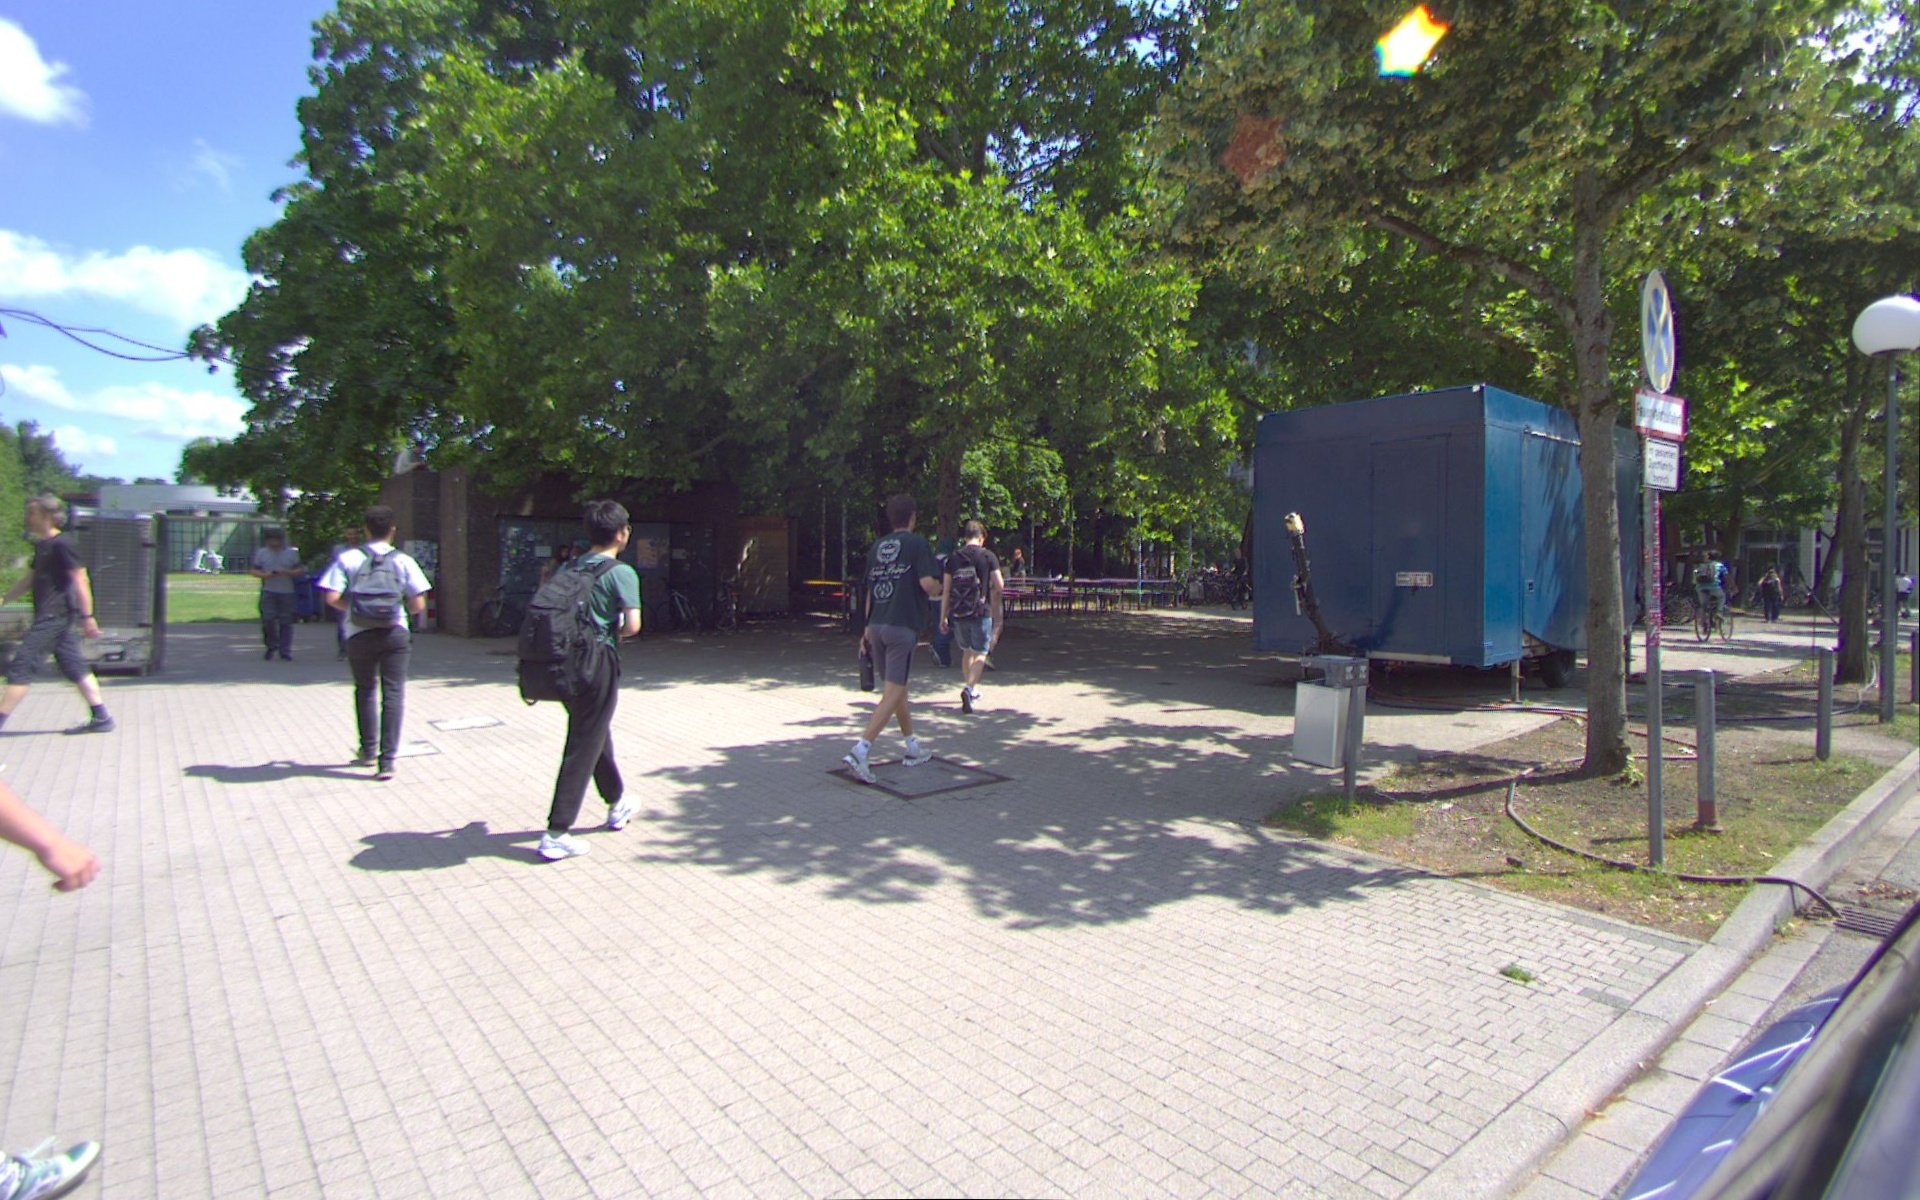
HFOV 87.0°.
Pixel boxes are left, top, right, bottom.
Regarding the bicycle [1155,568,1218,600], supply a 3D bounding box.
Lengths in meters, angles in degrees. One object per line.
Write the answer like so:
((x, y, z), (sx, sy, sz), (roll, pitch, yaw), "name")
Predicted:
((7.289, -0.523, 32.572), (1.945, 0.991, 0.434), (2, 2, 32), "bicycle")

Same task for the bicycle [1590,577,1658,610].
((21.620, -0.212, 32.963), (1.773, 1.041, 0.438), (1, 1, 19), "bicycle")

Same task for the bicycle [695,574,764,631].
((-4.710, 0.045, 20.560), (0.767, 1.085, 2.407), (-1, 1, -27), "bicycle")

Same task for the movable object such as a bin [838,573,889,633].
((-1.817, 0.043, 19.047), (0.729, 1.084, 0.600), (-3, 3, -39), "movable object such as a bin")

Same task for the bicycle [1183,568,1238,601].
((8.537, -0.547, 34.516), (1.769, 1.052, 0.474), (2, 2, 30), "bicycle")

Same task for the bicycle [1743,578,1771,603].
((36.742, -0.433, 46.639), (1.664, 1.099, 0.482), (2, 1, -35), "bicycle")

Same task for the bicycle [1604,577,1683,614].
((20.517, -0.147, 30.408), (1.896, 1.072, 0.322), (2, 1, 28), "bicycle")

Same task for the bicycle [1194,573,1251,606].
((8.686, -0.359, 33.516), (1.769, 1.052, 0.430), (2, 2, 30), "bicycle")

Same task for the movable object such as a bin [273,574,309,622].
((-18.769, -0.054, 28.401), (0.754, 1.337, 0.783), (1, 0, -40), "movable object such as a bin")

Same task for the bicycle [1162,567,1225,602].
((7.573, -0.513, 32.905), (1.945, 1.052, 0.430), (2, 2, 32), "bicycle")

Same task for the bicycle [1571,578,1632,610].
((22.903, -0.231, 36.162), (1.772, 1.083, 0.423), (1, 1, 23), "bicycle")

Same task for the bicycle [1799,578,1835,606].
((38.041, -0.345, 44.902), (1.494, 1.155, 0.493), (2, 1, -20), "bicycle")

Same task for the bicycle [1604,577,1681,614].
((20.665, -0.154, 30.677), (1.896, 1.072, 0.322), (2, 1, 28), "bicycle")

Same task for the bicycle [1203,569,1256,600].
((9.654, -0.553, 36.249), (1.738, 1.052, 0.474), (2, 2, 30), "bicycle")

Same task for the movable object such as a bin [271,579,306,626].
((-19.488, 0.081, 29.374), (0.754, 1.337, 0.783), (1, 0, -40), "movable object such as a bin")

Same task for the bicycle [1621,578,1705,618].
((20.333, -0.078, 29.299), (1.940, 1.095, 0.399), (2, 1, 39), "bicycle")

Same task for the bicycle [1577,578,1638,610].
((23.309, -0.226, 36.437), (1.772, 1.083, 0.423), (1, 1, 23), "bicycle")

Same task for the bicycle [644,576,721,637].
((-5.410, 0.088, 19.620), (0.768, 1.085, 2.406), (-1, 2, -32), "bicycle")

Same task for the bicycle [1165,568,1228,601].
((7.840, -0.523, 33.585), (1.945, 1.052, 0.473), (2, 2, 32), "bicycle")

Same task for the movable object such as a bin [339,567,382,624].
((-14.415, -0.112, 24.329), (0.754, 1.337, 0.783), (1, 0, -40), "movable object such as a bin")

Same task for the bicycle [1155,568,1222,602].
((7.107, -0.477, 31.547), (1.945, 0.991, 0.606), (2, 2, 32), "bicycle")

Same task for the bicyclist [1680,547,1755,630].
((14.913, -0.237, 19.925), (1.171, 1.586, 0.654), (0, 3, -26), "bicyclist")

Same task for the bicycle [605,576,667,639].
((-6.142, 0.107, 19.100), (0.767, 1.085, 2.408), (-1, 2, -26), "bicycle")

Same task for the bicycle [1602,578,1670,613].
((21.652, -0.161, 32.455), (1.713, 1.065, 0.492), (1, 1, 14), "bicycle")

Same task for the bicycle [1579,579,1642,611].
((22.715, -0.175, 35.382), (1.771, 1.083, 0.424), (1, 1, 21), "bicycle")

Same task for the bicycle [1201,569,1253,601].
((9.483, -0.544, 35.936), (1.738, 1.052, 0.344), (2, 2, 30), "bicycle")

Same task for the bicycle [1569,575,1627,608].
((23.831, -0.333, 37.829), (1.768, 1.185, 0.400), (1, 1, 17), "bicycle")

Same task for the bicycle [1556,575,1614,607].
((23.983, -0.361, 38.849), (1.820, 1.185, 0.343), (1, 1, 17), "bicycle")

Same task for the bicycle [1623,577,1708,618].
((19.980, -0.081, 28.689), (1.940, 1.095, 0.399), (2, 1, 39), "bicycle")

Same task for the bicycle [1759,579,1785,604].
((37.267, -0.396, 46.440), (1.486, 1.099, 0.482), (2, 1, -35), "bicycle")

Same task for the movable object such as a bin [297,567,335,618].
((-17.317, -0.198, 27.208), (0.754, 1.337, 0.783), (1, 0, -40), "movable object such as a bin")

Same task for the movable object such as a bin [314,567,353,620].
((-16.220, -0.159, 26.181), (0.754, 1.337, 0.783), (1, 0, -40), "movable object such as a bin")

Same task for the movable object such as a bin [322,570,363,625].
((-15.503, -0.067, 25.401), (0.754, 1.337, 0.783), (1, 0, -40), "movable object such as a bin")

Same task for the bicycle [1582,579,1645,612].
((22.567, -0.161, 34.971), (1.771, 1.083, 0.424), (1, 1, 21), "bicycle")

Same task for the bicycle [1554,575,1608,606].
((24.322, -0.362, 39.652), (1.811, 1.185, 0.345), (1, 1, 3), "bicycle")

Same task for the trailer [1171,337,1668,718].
((5.362, -0.680, 11.284), (6.149, 3.089, 2.697), (-1, 3, -41), "trailer")

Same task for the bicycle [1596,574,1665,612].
((21.111, -0.225, 31.882), (1.713, 1.169, 0.492), (1, 1, 14), "bicycle")

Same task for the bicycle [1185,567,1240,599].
((8.814, -0.597, 35.349), (1.816, 1.052, 0.474), (2, 2, 30), "bicycle")
